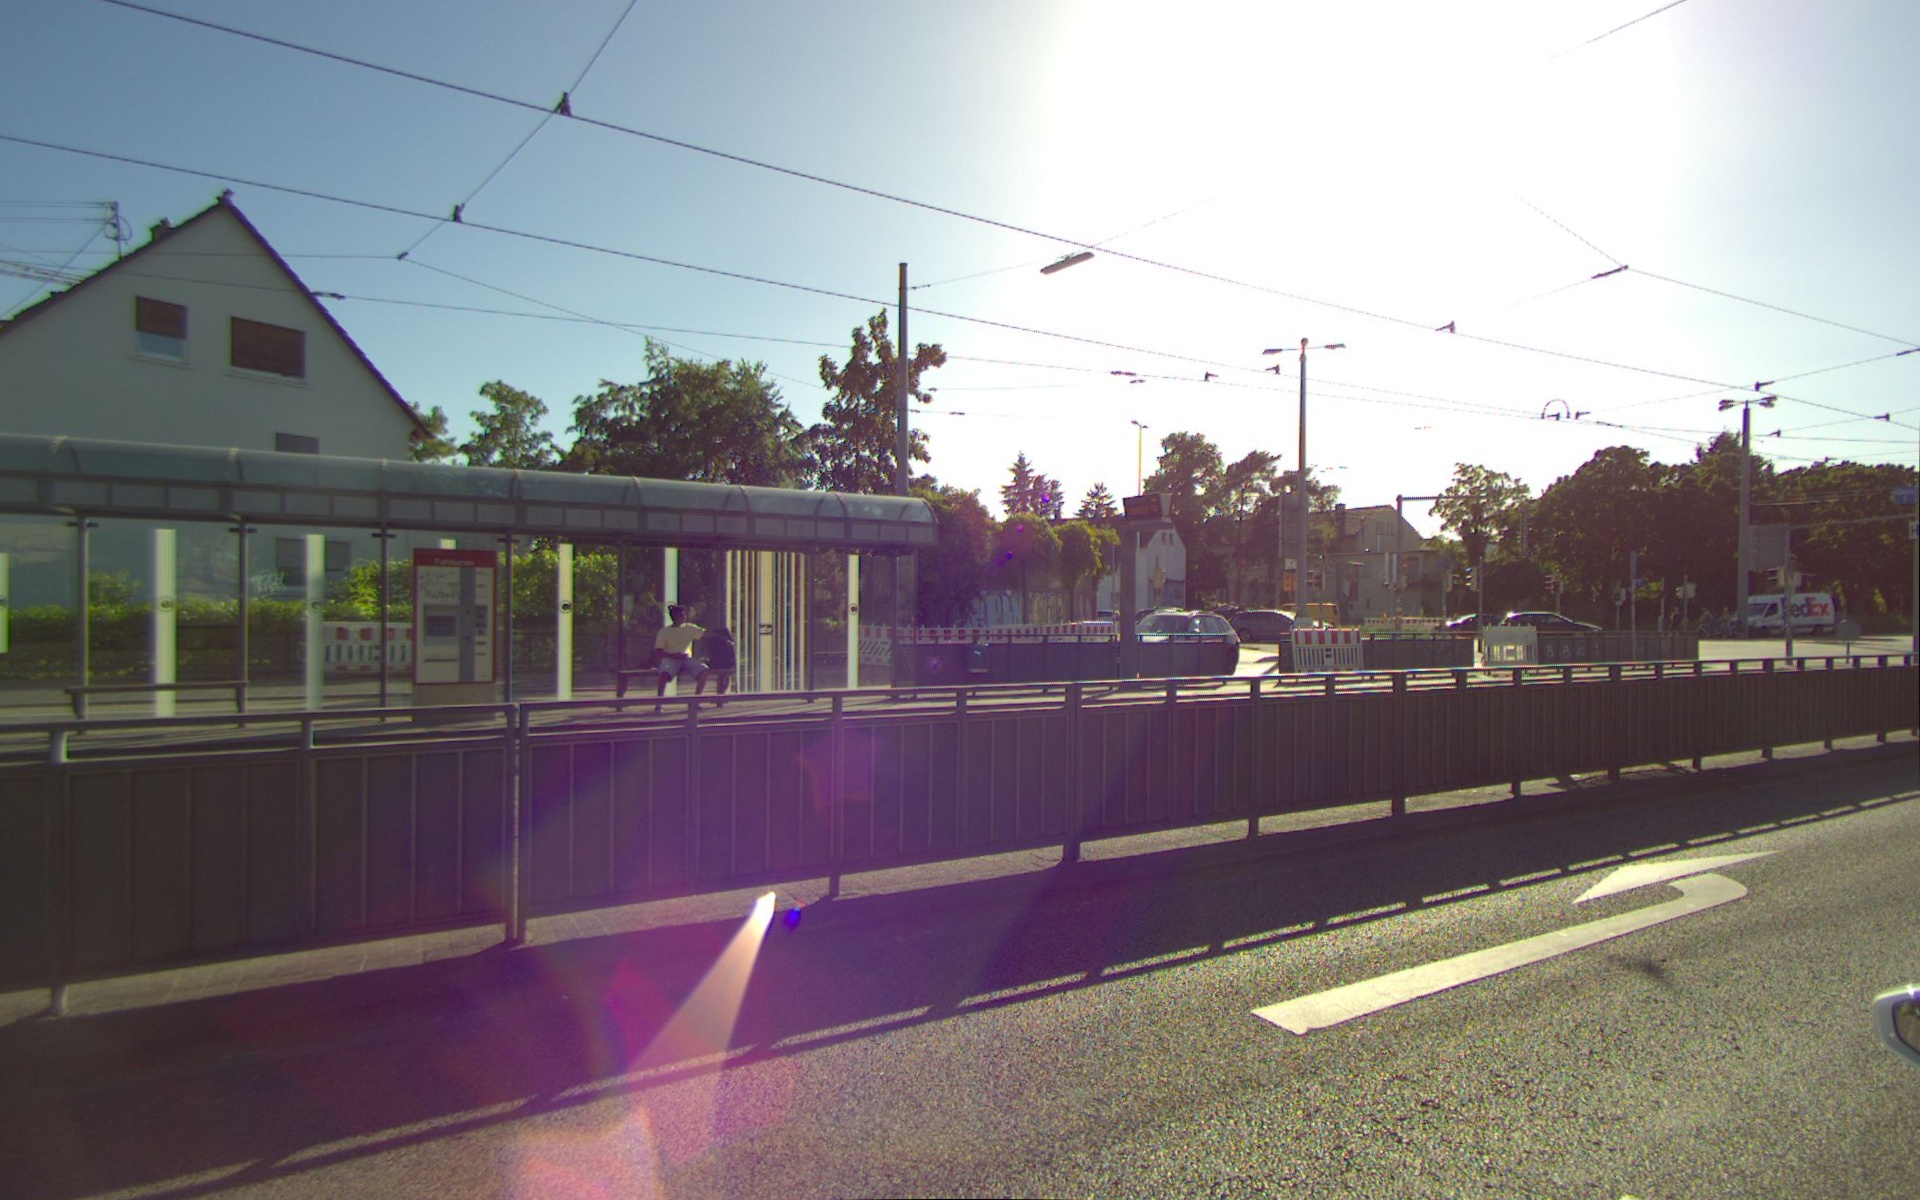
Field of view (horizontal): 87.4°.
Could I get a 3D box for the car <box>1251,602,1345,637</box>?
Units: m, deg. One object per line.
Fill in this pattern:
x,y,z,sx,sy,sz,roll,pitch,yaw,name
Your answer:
20.617,1.147,61.320,5.084,1.905,1.994,2,1,34,car

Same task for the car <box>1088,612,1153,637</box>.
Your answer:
10.809,1.603,67.745,3.938,1.493,1.744,2,1,39,car

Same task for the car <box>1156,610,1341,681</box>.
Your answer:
6.805,1.010,23.567,4.293,1.540,1.727,1,-1,-31,car

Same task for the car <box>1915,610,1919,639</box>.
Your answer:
54.211,1.374,55.273,3.962,1.569,1.819,1,-1,-37,car

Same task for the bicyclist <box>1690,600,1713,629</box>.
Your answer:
42.549,0.818,57.652,0.995,1.669,0.813,0,0,43,bicyclist

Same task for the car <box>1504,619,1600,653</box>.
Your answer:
26.287,1.576,44.653,3.614,1.397,1.523,0,-1,34,car

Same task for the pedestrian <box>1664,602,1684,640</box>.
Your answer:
38.619,1.140,54.342,0.785,2.040,0.741,0,0,-42,pedestrian

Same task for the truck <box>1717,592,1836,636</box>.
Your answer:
49.149,0.855,60.462,6.708,2.599,1.994,1,0,-15,truck

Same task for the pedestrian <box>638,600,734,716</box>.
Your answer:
-3.689,0.756,13.488,0.995,1.472,1.055,1,-1,-30,pedestrian

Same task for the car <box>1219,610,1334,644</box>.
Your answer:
14.549,1.215,46.324,4.755,1.517,1.780,0,-1,34,car

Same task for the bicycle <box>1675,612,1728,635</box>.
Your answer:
42.560,1.350,57.666,2.370,1.279,0.813,0,0,43,bicycle

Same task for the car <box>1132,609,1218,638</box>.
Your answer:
11.236,1.218,52.564,4.104,1.451,1.589,0,-1,34,car
